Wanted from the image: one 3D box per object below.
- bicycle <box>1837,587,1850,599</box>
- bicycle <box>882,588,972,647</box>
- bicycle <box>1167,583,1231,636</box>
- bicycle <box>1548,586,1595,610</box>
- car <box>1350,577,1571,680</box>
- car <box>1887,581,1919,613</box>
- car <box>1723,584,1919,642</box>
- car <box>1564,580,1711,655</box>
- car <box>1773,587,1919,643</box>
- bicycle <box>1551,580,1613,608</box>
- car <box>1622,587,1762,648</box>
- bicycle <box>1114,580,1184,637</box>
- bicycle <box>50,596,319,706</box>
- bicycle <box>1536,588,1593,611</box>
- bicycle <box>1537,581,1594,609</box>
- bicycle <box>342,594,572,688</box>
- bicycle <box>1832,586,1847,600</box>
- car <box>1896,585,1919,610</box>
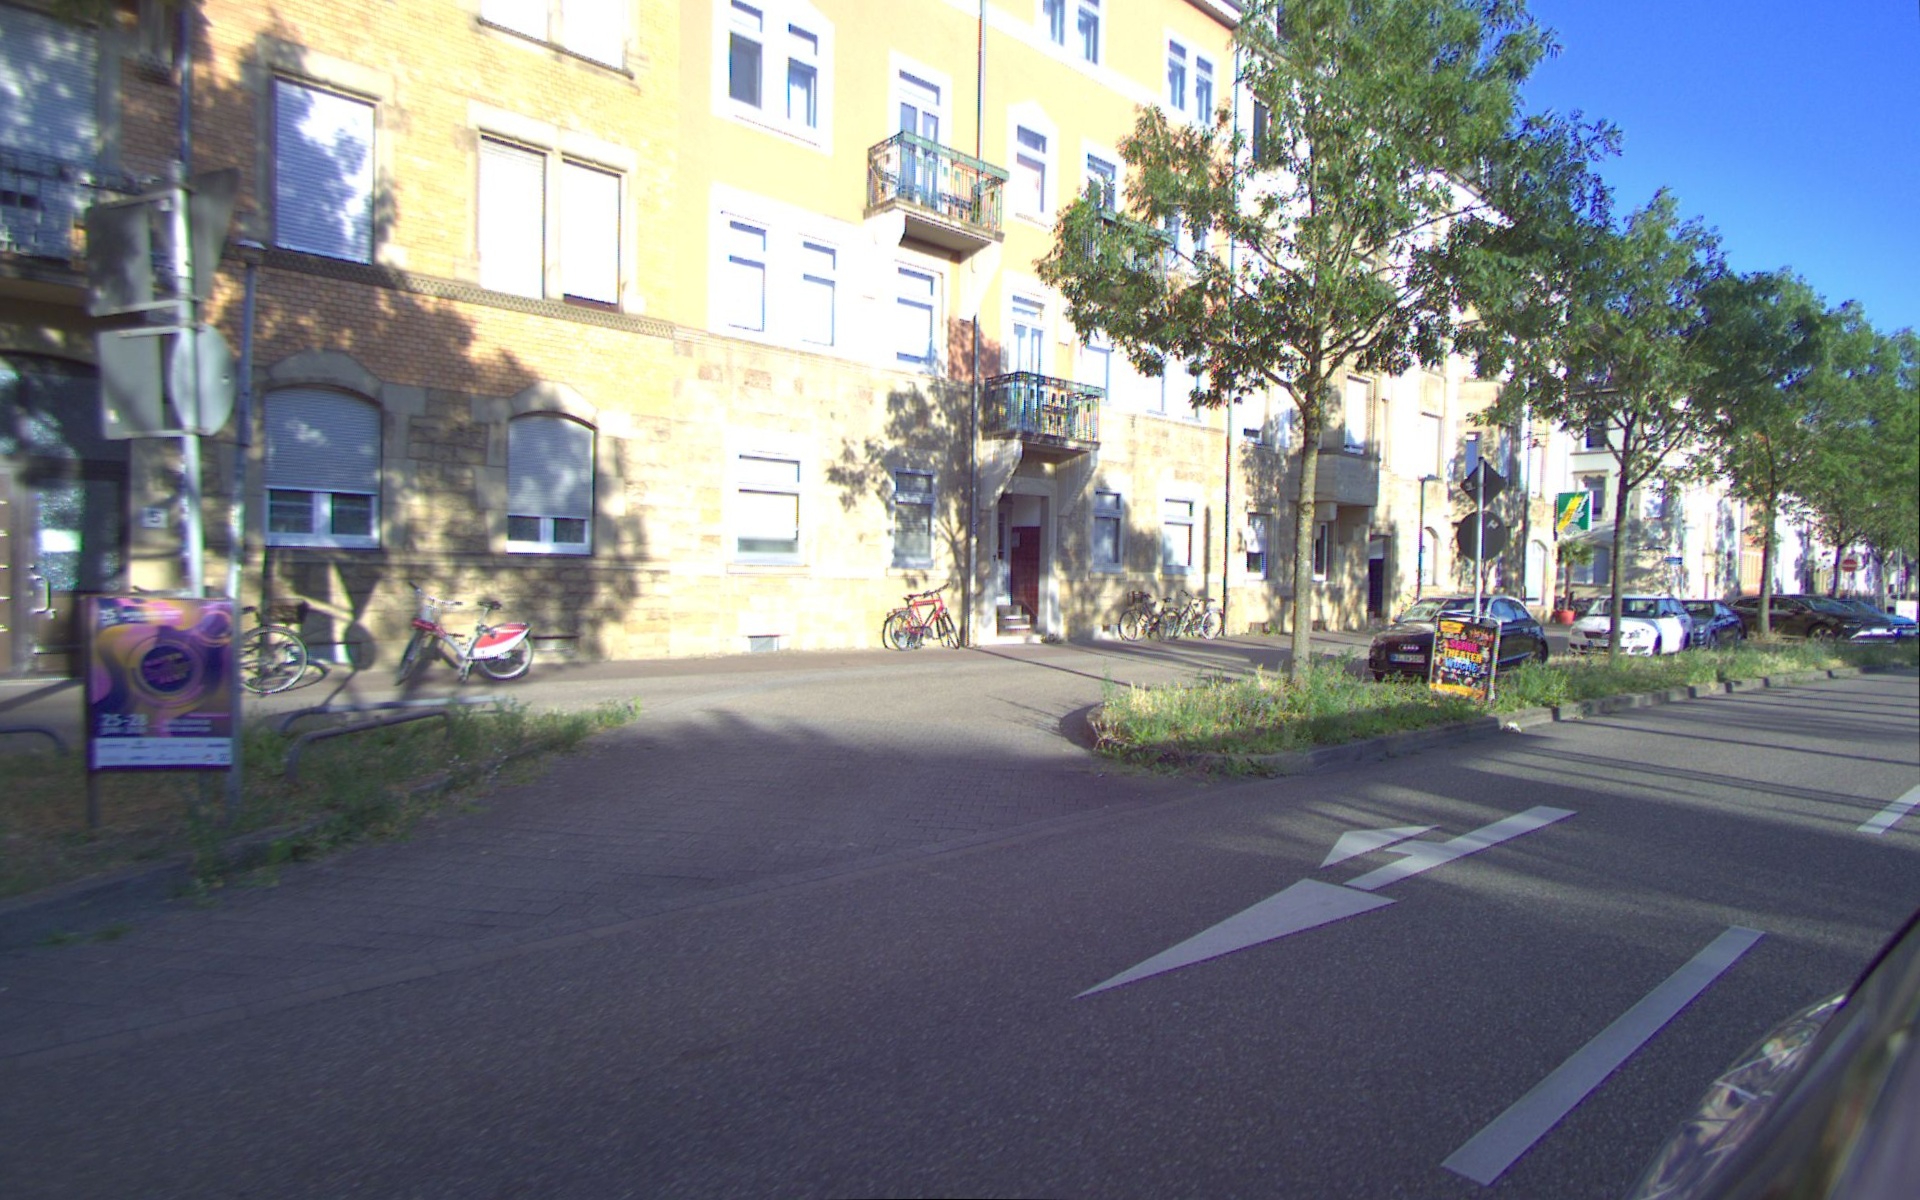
[{"bbox_3d":[73.724,-0.581,84.435,1.895,1.003,0.580,-1,2,-42],"label":"bicycle"},{"bbox_3d":[-0.580,0.299,18.408,1.716,1.018,0.484,0,2,-41],"label":"bicycle"},{"bbox_3d":[5.672,0.209,23.983,1.716,1.178,0.485,0,7,-41],"label":"bicycle"},{"bbox_3d":[31.342,-0.113,51.903,0.566,1.138,1.974,0,2,-44],"label":"bicycle"},{"bbox_3d":[8.247,0.404,16.515,4.213,1.467,1.706,0,-1,-41],"label":"car"},{"bbox_3d":[53.009,-0.125,54.427,1.877,1.712,4.439,1,1,-6],"label":"car"},{"bbox_3d":[25.505,0.358,30.088,1.961,1.591,4.348,1,0,-8],"label":"car"},{"bbox_3d":[15.226,0.353,22.663,4.198,1.531,1.728,0,-1,-42],"label":"car"},{"bbox_3d":[27.776,0.397,31.067,1.809,1.541,4.295,1,1,-8],"label":"car"},{"bbox_3d":[32.474,-0.334,52.885,0.719,1.401,2.667,0,2,-44],"label":"bicycle"},{"bbox_3d":[19.168,0.412,26.419,4.824,1.463,1.948,-1,0,-42],"label":"car"},{"bbox_3d":[4.266,0.176,22.751,1.716,1.178,0.485,0,7,-41],"label":"bicycle"},{"bbox_3d":[-7.620,0.449,10.040,2.047,0.927,0.874,0,4,-39],"label":"bicycle"},{"bbox_3d":[30.204,-0.036,50.586,0.719,1.063,2.330,0,2,-44],"label":"bicycle"},{"bbox_3d":[30.639,-0.270,51.276,0.719,1.336,2.351,0,2,-44],"label":"bicycle"},{"bbox_3d":[-5.821,0.434,11.803,2.296,0.959,0.736,0,3,-38],"label":"bicycle"},{"bbox_3d":[72.167,-0.610,83.035,2.189,1.092,0.589,-1,4,-42],"label":"bicycle"},{"bbox_3d":[57.363,-0.098,58.441,1.989,1.417,4.564,0,2,-10],"label":"car"}]
